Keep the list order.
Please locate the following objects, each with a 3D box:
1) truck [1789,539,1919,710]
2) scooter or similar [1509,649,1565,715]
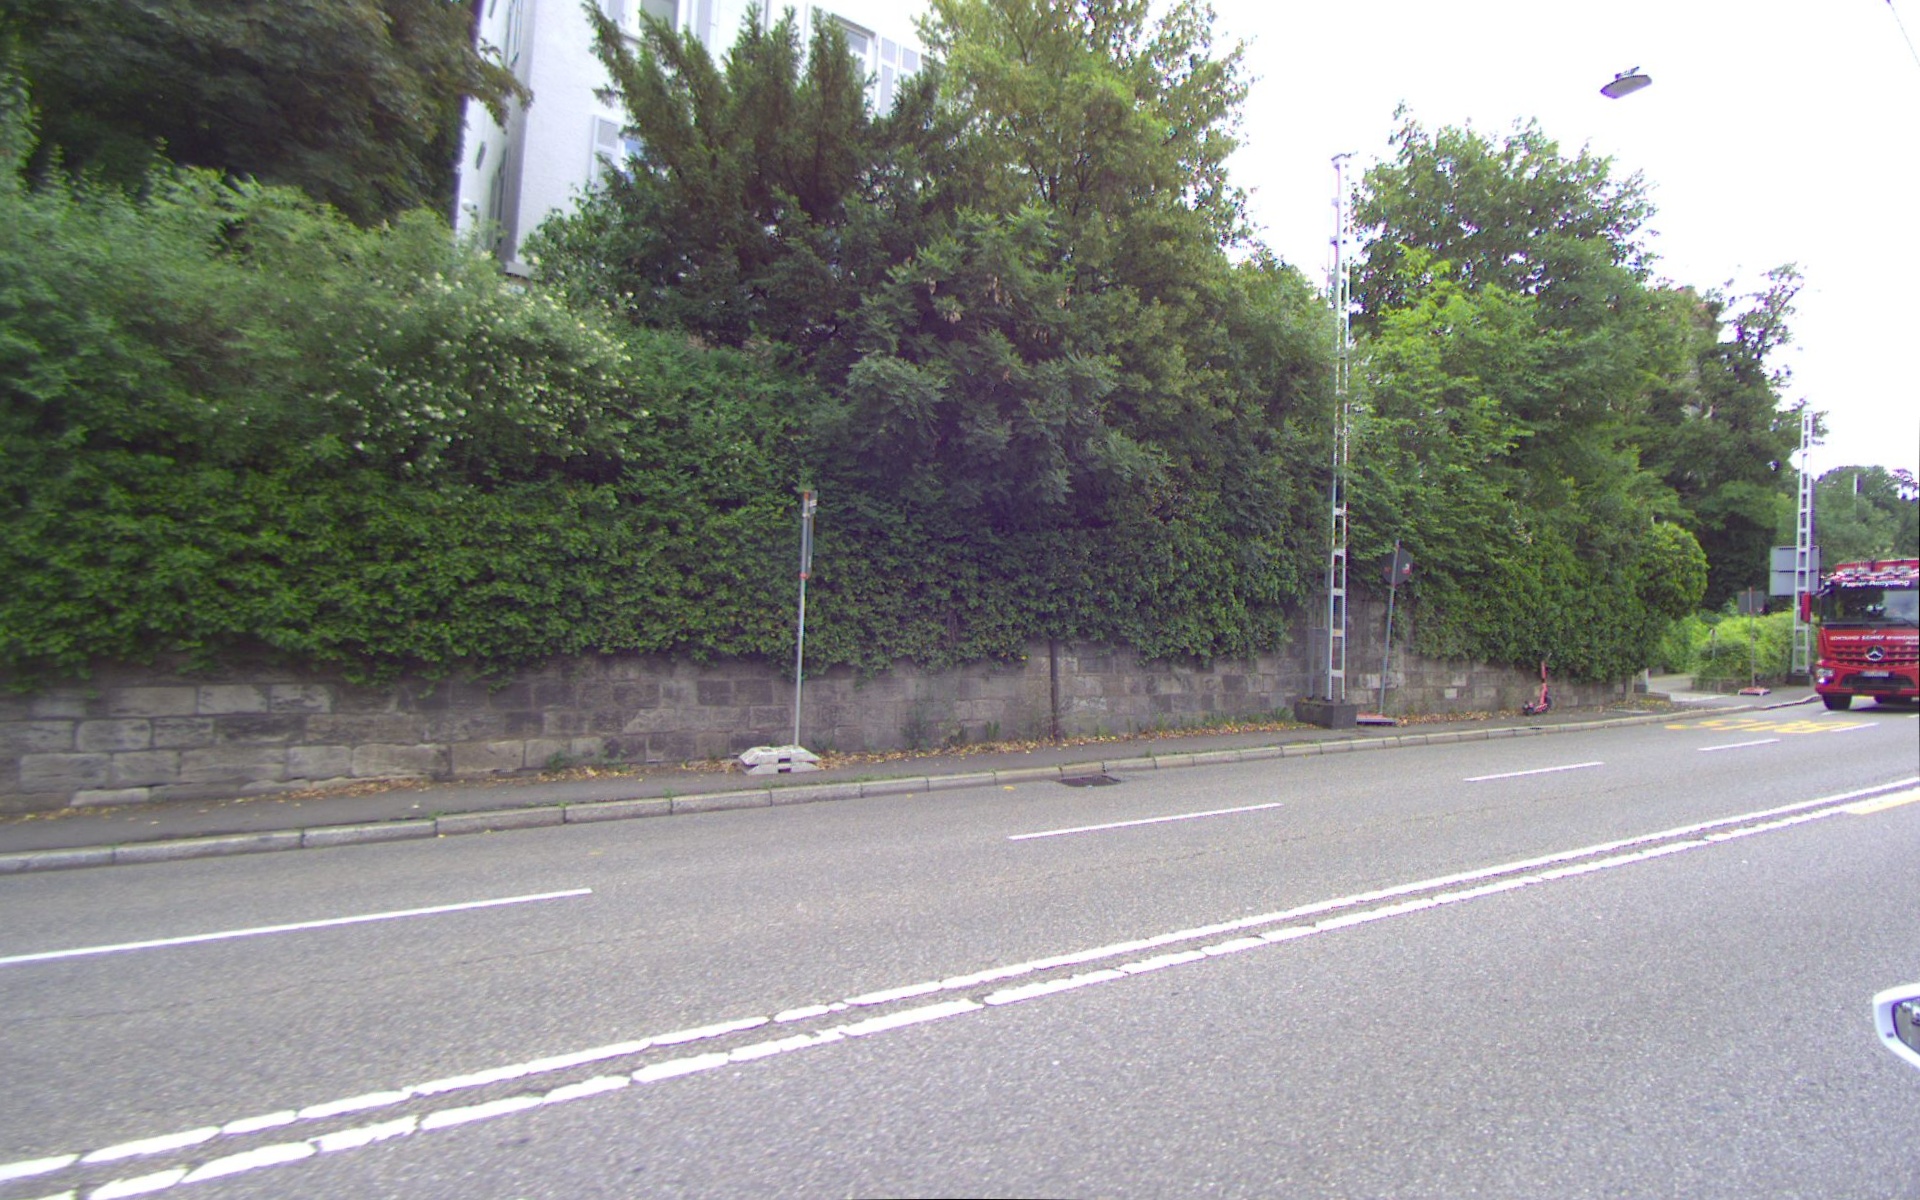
[{"bbox_3d":[24.617,0.699,25.544,9.821,3.745,2.926,2,-4,-36],"label":"truck"},{"bbox_3d":[11.390,1.598,19.814,1.269,1.221,0.533,2,0,-40],"label":"scooter or similar"}]
